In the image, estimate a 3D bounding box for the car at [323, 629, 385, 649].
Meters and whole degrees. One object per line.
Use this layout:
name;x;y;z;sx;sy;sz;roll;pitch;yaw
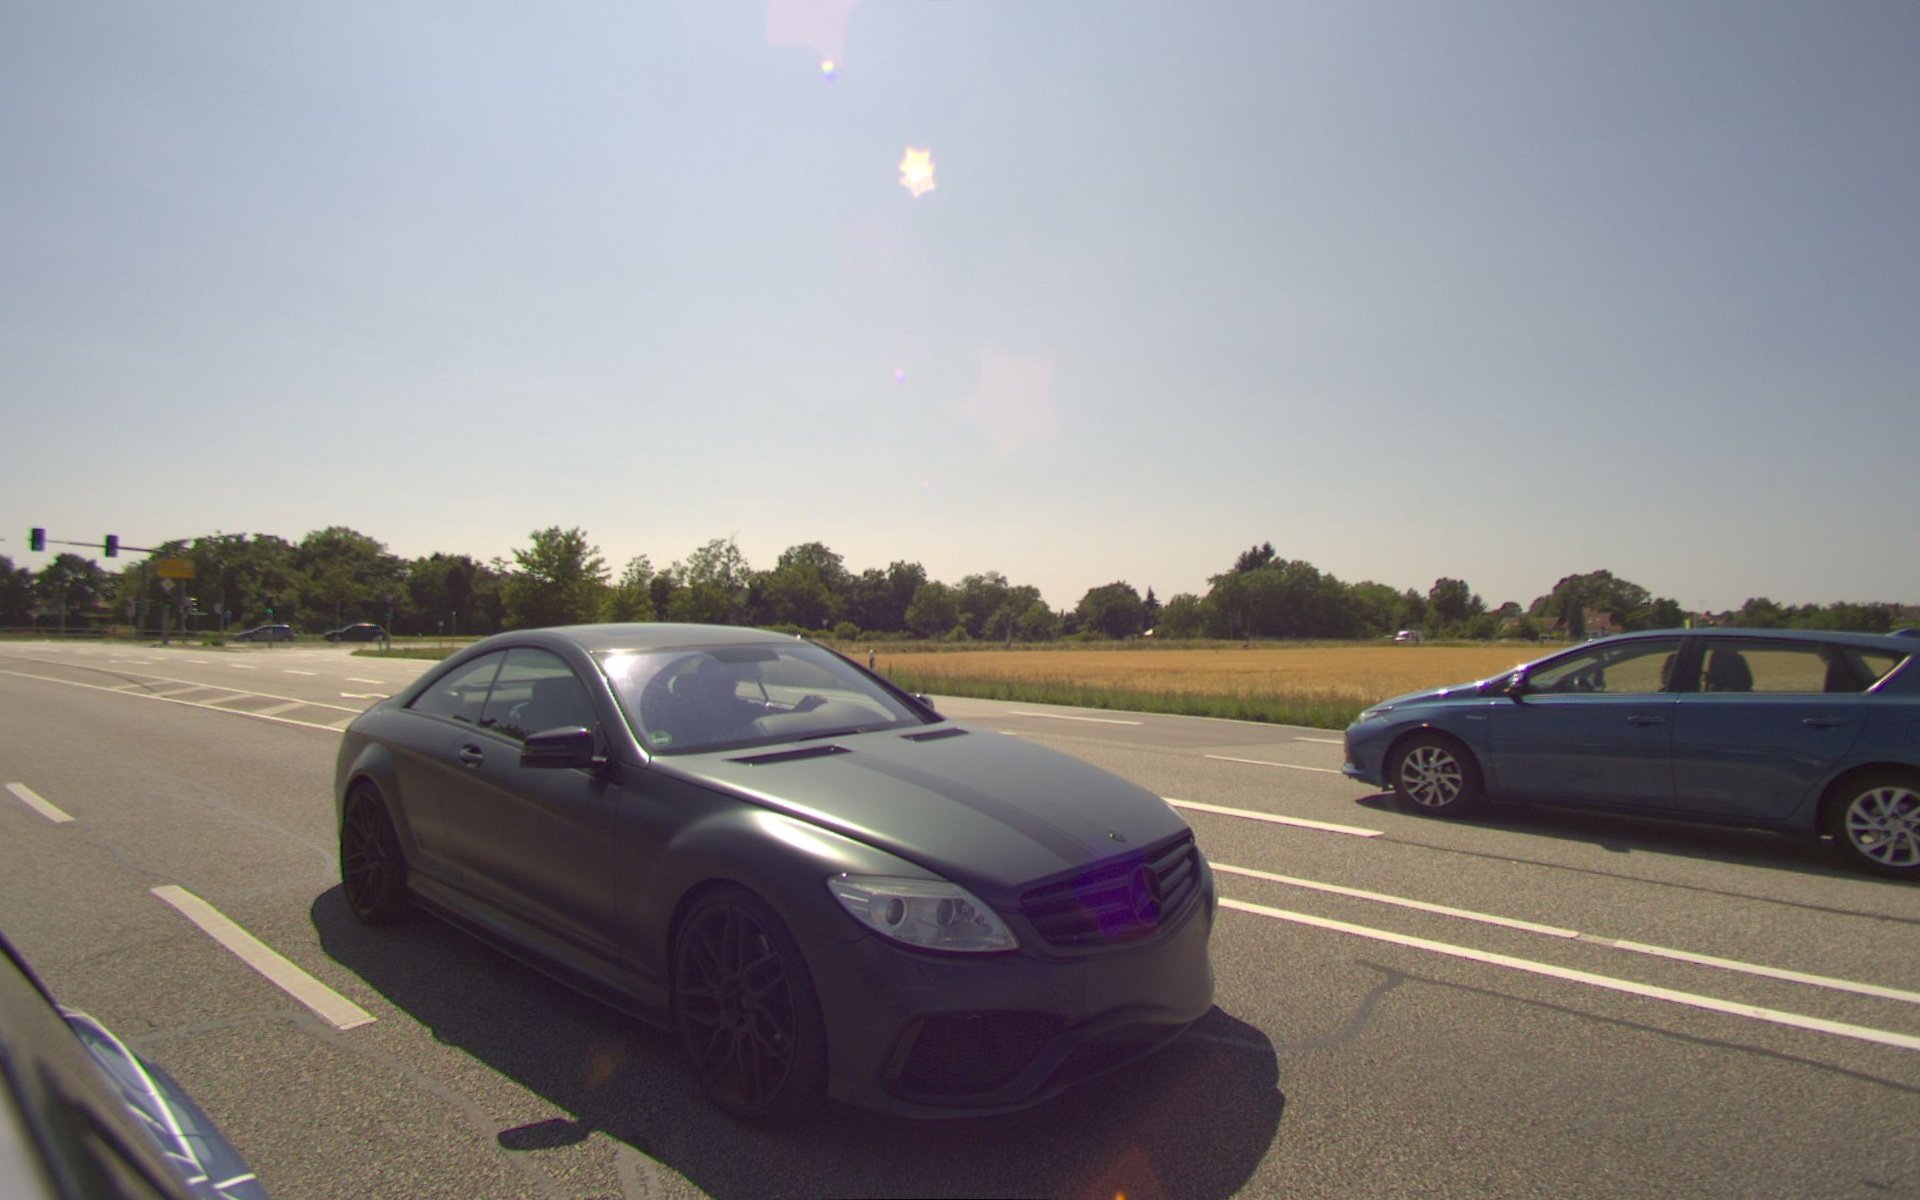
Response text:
car;-50.811;3.266;84.880;4.297;1.606;1.639;3;-4;-36

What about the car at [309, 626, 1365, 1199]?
car;-1.030;0.857;4.414;4.875;1.461;1.792;-2;-2;41

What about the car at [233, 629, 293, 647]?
car;-55.747;3.060;80.990;3.818;1.397;1.638;2;-3;-38

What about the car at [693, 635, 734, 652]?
car;-25.687;4.546;105.521;1.738;1.586;3.943;-1;-1;43

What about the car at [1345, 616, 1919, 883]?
car;5.124;0.896;7.061;1.738;1.468;4.234;5;-4;-44
